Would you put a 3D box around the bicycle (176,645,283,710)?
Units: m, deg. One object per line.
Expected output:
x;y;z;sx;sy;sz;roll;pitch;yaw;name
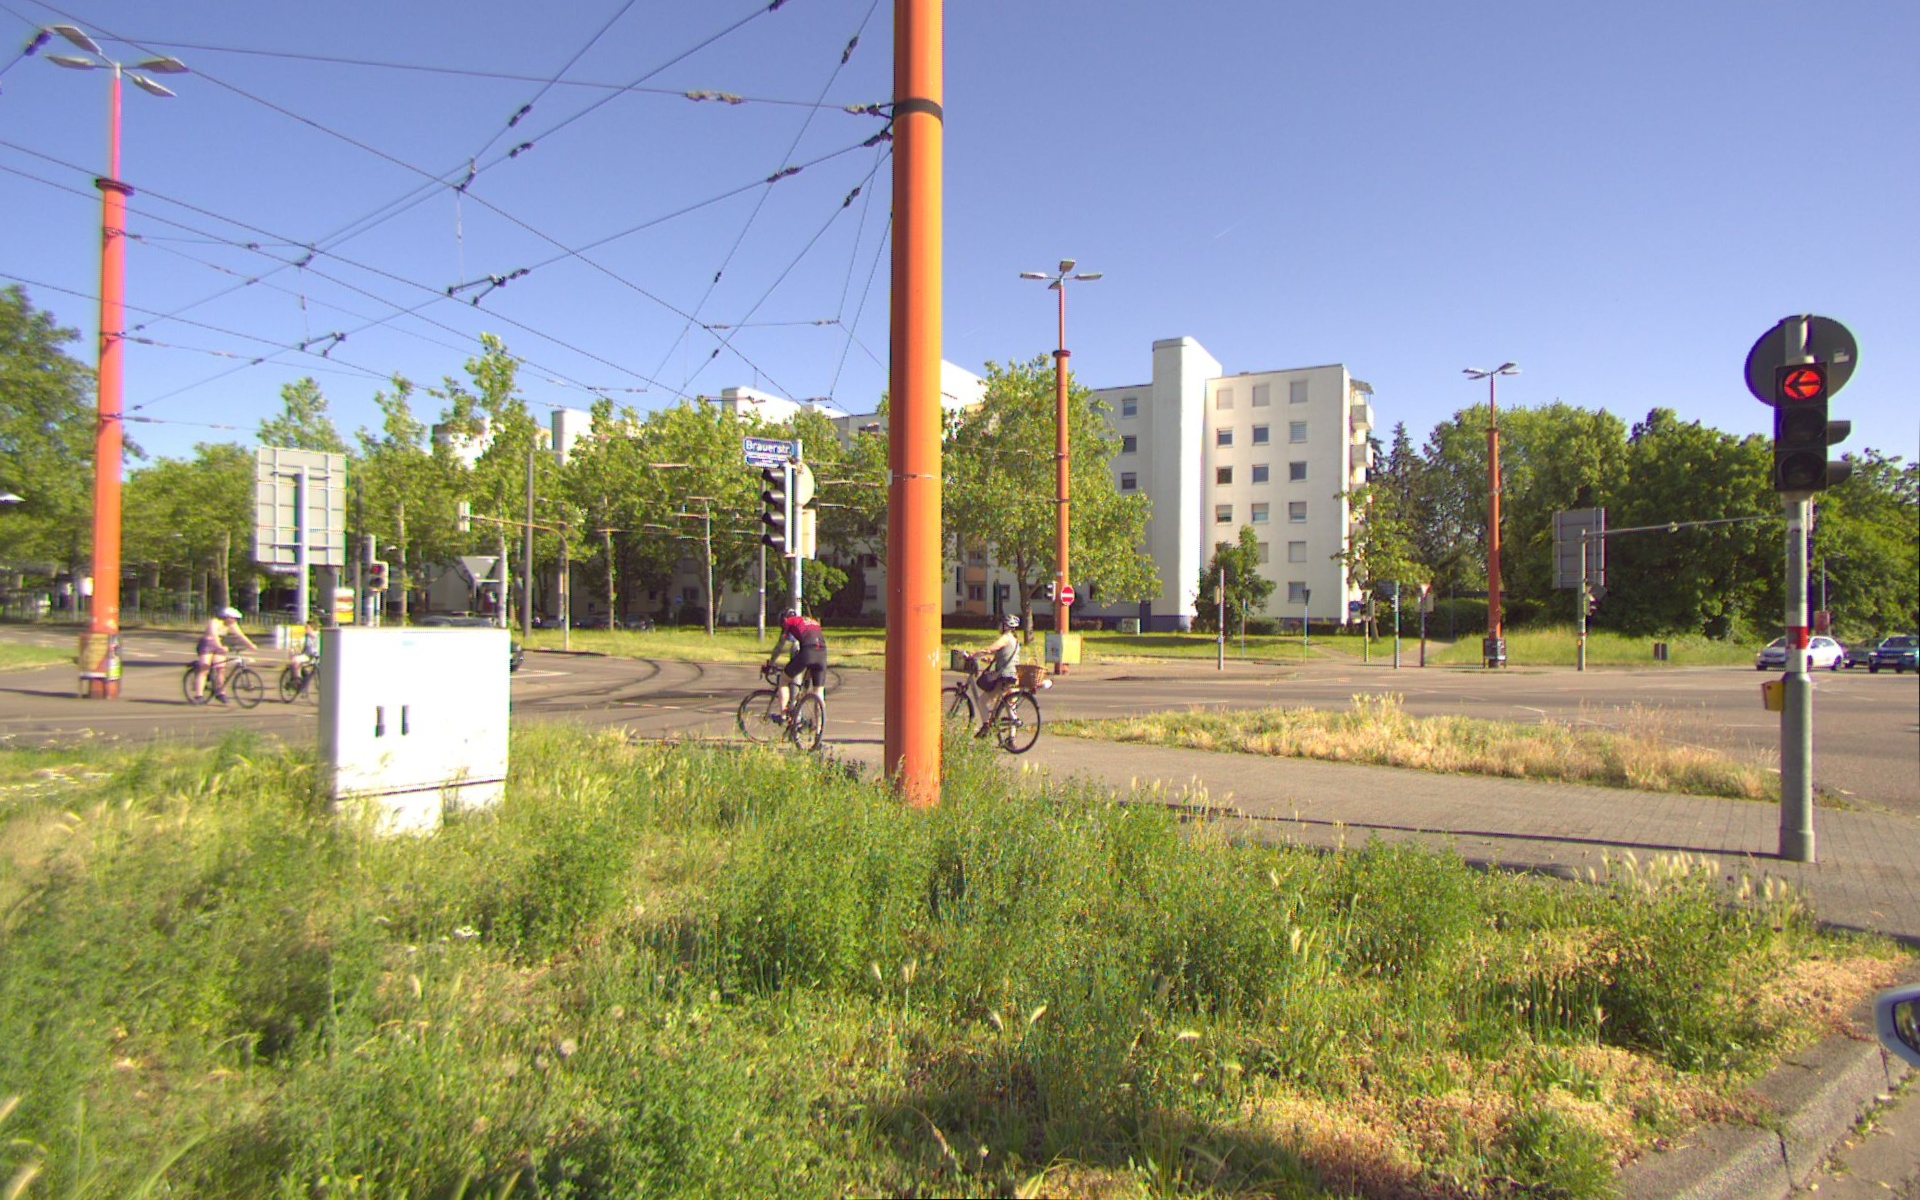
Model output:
-13.629;1.433;18.739;1.877;1.086;0.580;2;0;17;bicycle

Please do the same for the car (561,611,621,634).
-24.568;1.512;66.827;3.884;1.522;1.833;-1;-3;35;car

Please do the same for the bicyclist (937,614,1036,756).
0.327;0.998;12.232;0.815;1.643;0.888;0;-1;41;bicyclist

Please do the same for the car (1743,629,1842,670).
35.381;2.109;42.687;4.168;1.673;1.869;2;-3;-29;car

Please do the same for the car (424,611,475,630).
-43.242;1.754;85.107;3.592;1.480;1.608;2;0;-19;car

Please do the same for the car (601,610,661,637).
-23.651;1.695;72.302;3.874;1.841;1.651;2;0;-13;car

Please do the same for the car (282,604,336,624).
-66.283;1.455;102.366;4.274;2.010;1.932;1;-1;-19;car

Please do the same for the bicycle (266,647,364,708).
-12.844;1.530;20.002;1.878;1.086;0.580;2;0;19;bicycle

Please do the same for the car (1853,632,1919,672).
37.311;2.038;39.766;3.813;1.535;1.793;1;-3;-30;car

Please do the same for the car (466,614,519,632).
-38.823;1.911;83.396;3.665;1.349;1.496;2;0;-8;car

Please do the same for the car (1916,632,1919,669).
42.622;2.168;42.716;3.955;1.575;1.891;2;-2;-32;car

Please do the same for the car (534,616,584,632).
-30.880;1.849;77.444;3.346;1.162;1.305;2;0;-13;car

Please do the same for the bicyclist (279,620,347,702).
-12.883;1.197;20.010;0.906;1.545;0.720;2;0;20;bicyclist

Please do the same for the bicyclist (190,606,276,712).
-13.585;1.077;18.781;0.905;1.892;0.893;2;0;17;bicyclist

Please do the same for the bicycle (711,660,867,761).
-2.062;1.280;12.008;1.883;1.085;0.690;-2;-2;33;bicycle

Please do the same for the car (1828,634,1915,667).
43.151;2.373;47.532;3.952;1.533;1.877;1;-2;-29;car

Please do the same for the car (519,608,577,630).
-32.532;1.499;79.439;3.868;1.614;1.656;2;0;-8;car

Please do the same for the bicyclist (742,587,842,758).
-1.997;0.837;11.967;0.974;1.938;0.685;-1;-2;33;bicyclist

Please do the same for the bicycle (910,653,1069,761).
0.328;1.247;12.190;1.887;1.146;0.737;0;-1;41;bicycle

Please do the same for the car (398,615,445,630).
-46.609;1.917;86.962;3.370;1.204;1.439;2;0;-23;car

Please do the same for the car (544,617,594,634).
-29.312;1.882;75.347;3.219;1.172;1.357;2;0;-12;car

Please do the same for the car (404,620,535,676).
-15.208;1.435;31.103;3.977;1.516;1.913;2;0;34;car
